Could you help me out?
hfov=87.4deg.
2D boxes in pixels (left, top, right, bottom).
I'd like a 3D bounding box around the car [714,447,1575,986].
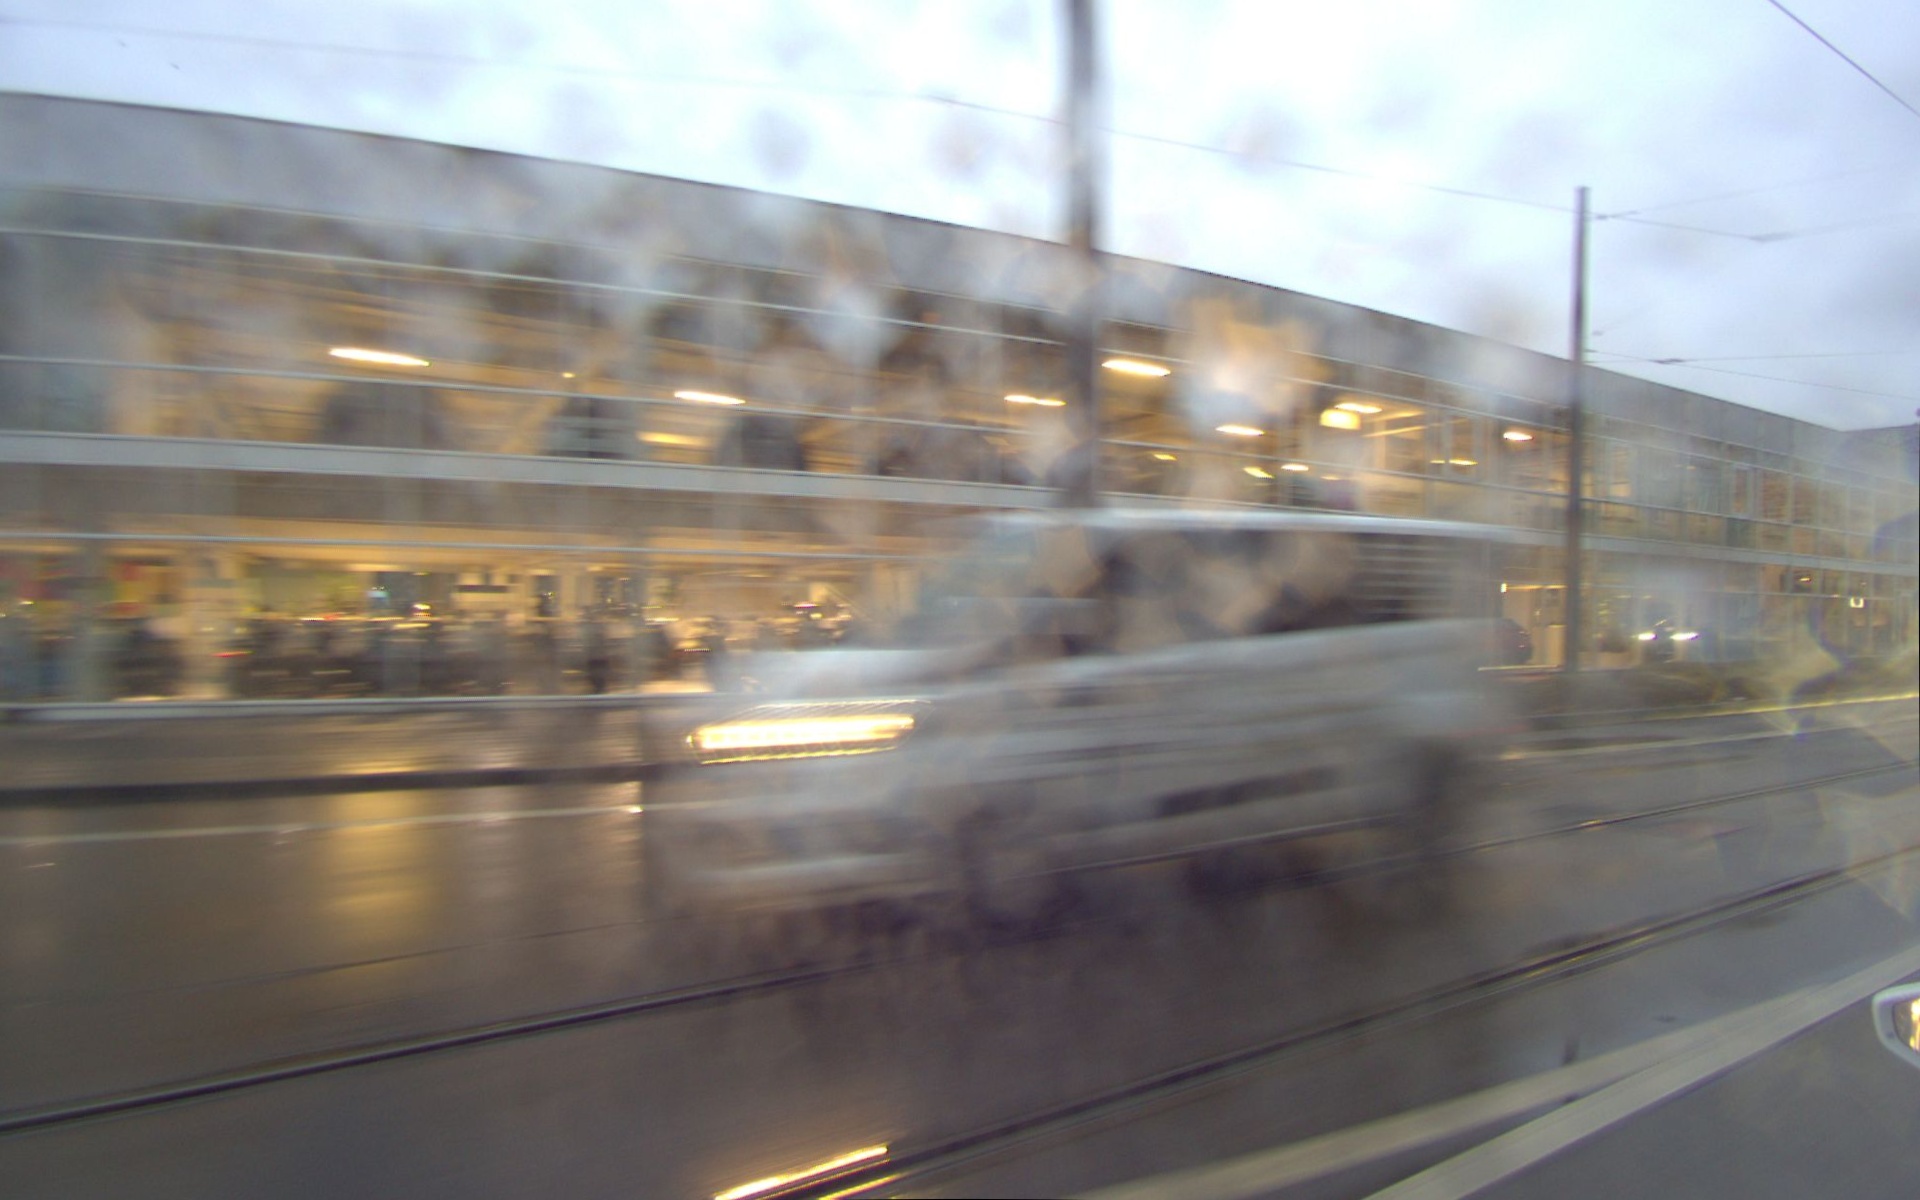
[{"bbox_3d":[1.147,0.490,5.774,4.626,2.040,1.986,1,0,-28],"label":"car"}]
